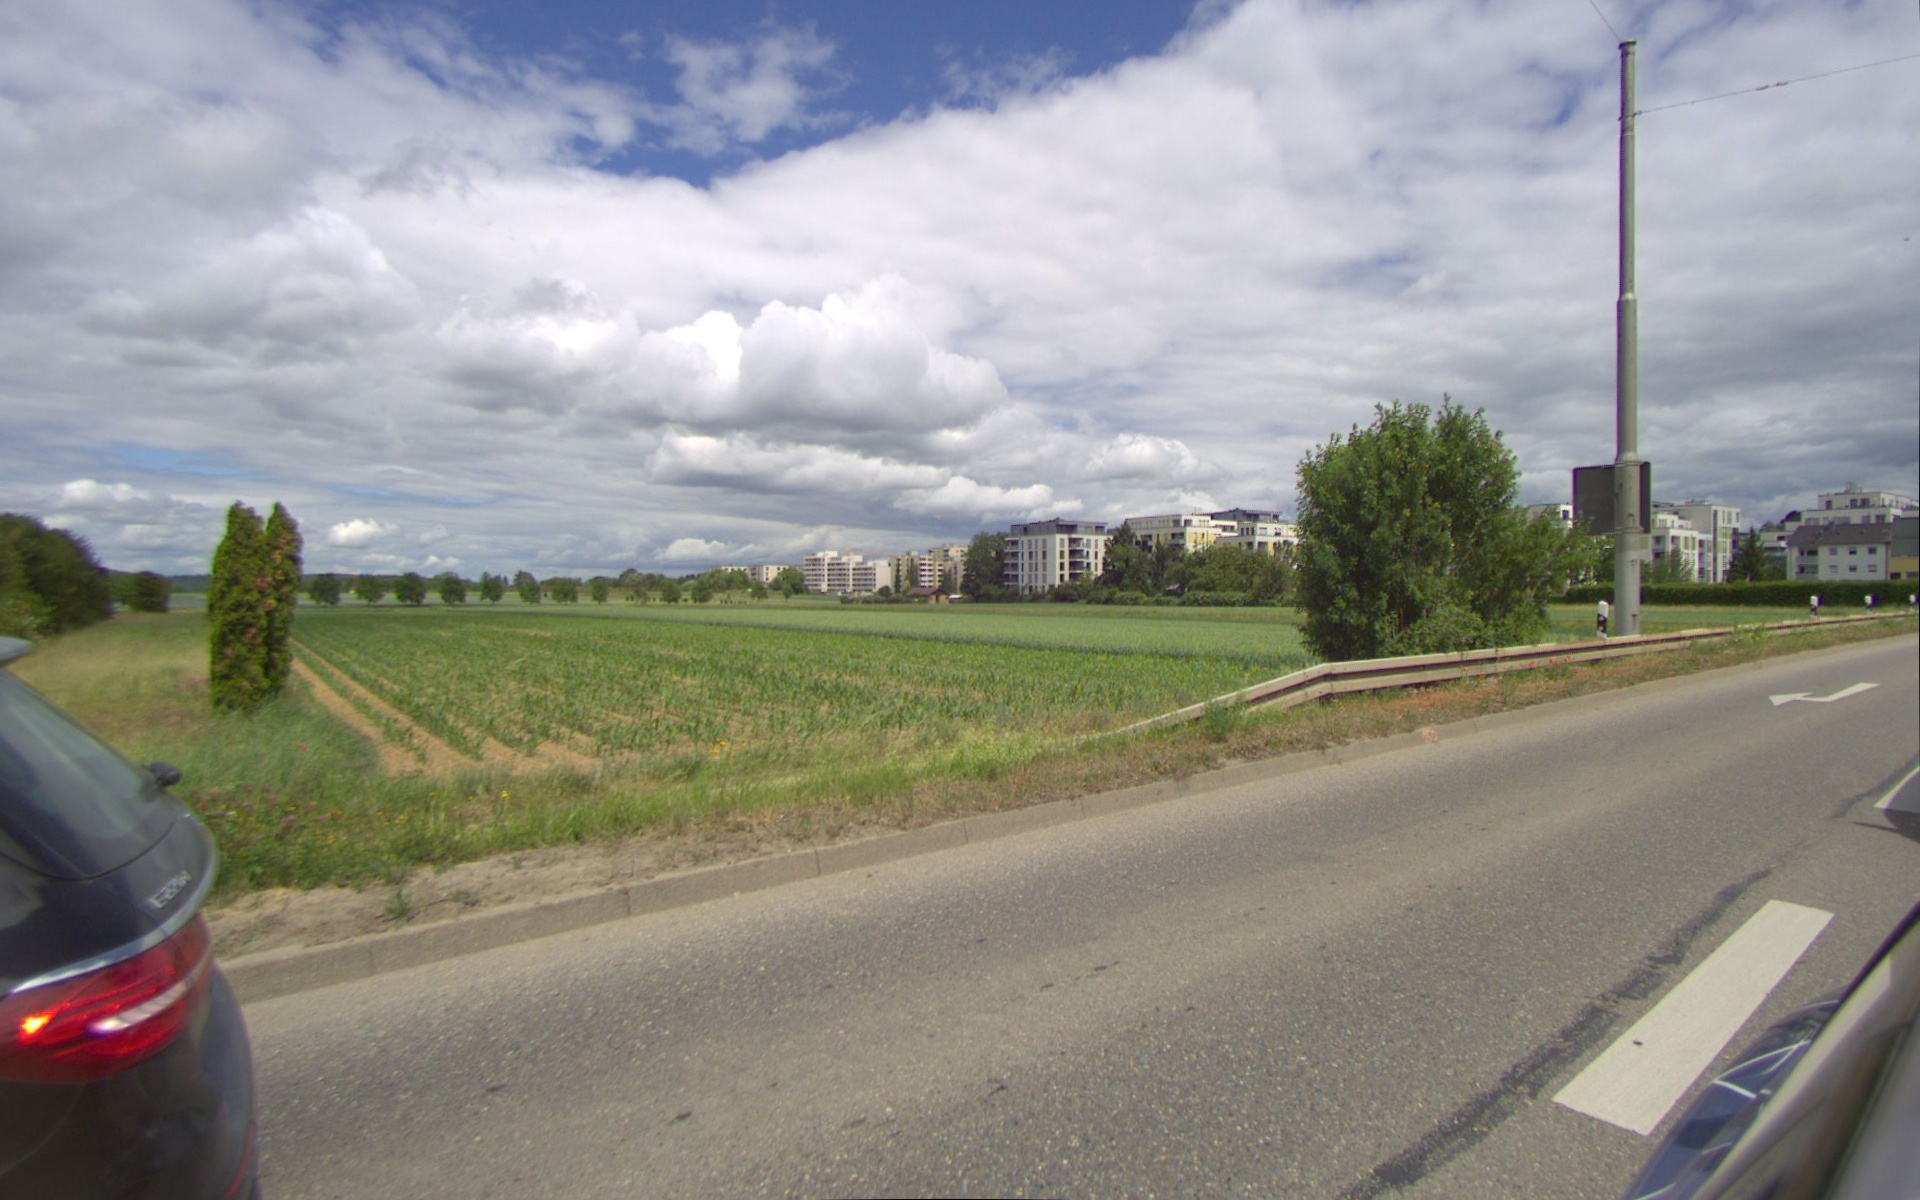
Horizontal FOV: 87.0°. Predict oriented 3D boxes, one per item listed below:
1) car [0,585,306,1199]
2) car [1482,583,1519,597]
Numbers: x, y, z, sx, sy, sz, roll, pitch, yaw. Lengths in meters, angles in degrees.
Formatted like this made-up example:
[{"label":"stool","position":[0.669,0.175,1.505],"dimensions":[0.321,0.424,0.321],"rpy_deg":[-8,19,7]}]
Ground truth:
[{"label":"car","position":[-3.323,0.717,0.587],"dimensions":[4.721,1.557,1.841],"rpy_deg":[2,0,-41]},{"label":"car","position":[79.417,-1.463,148.733],"dimensions":[1.964,2.038,4.436],"rpy_deg":[-1,2,-39]}]
